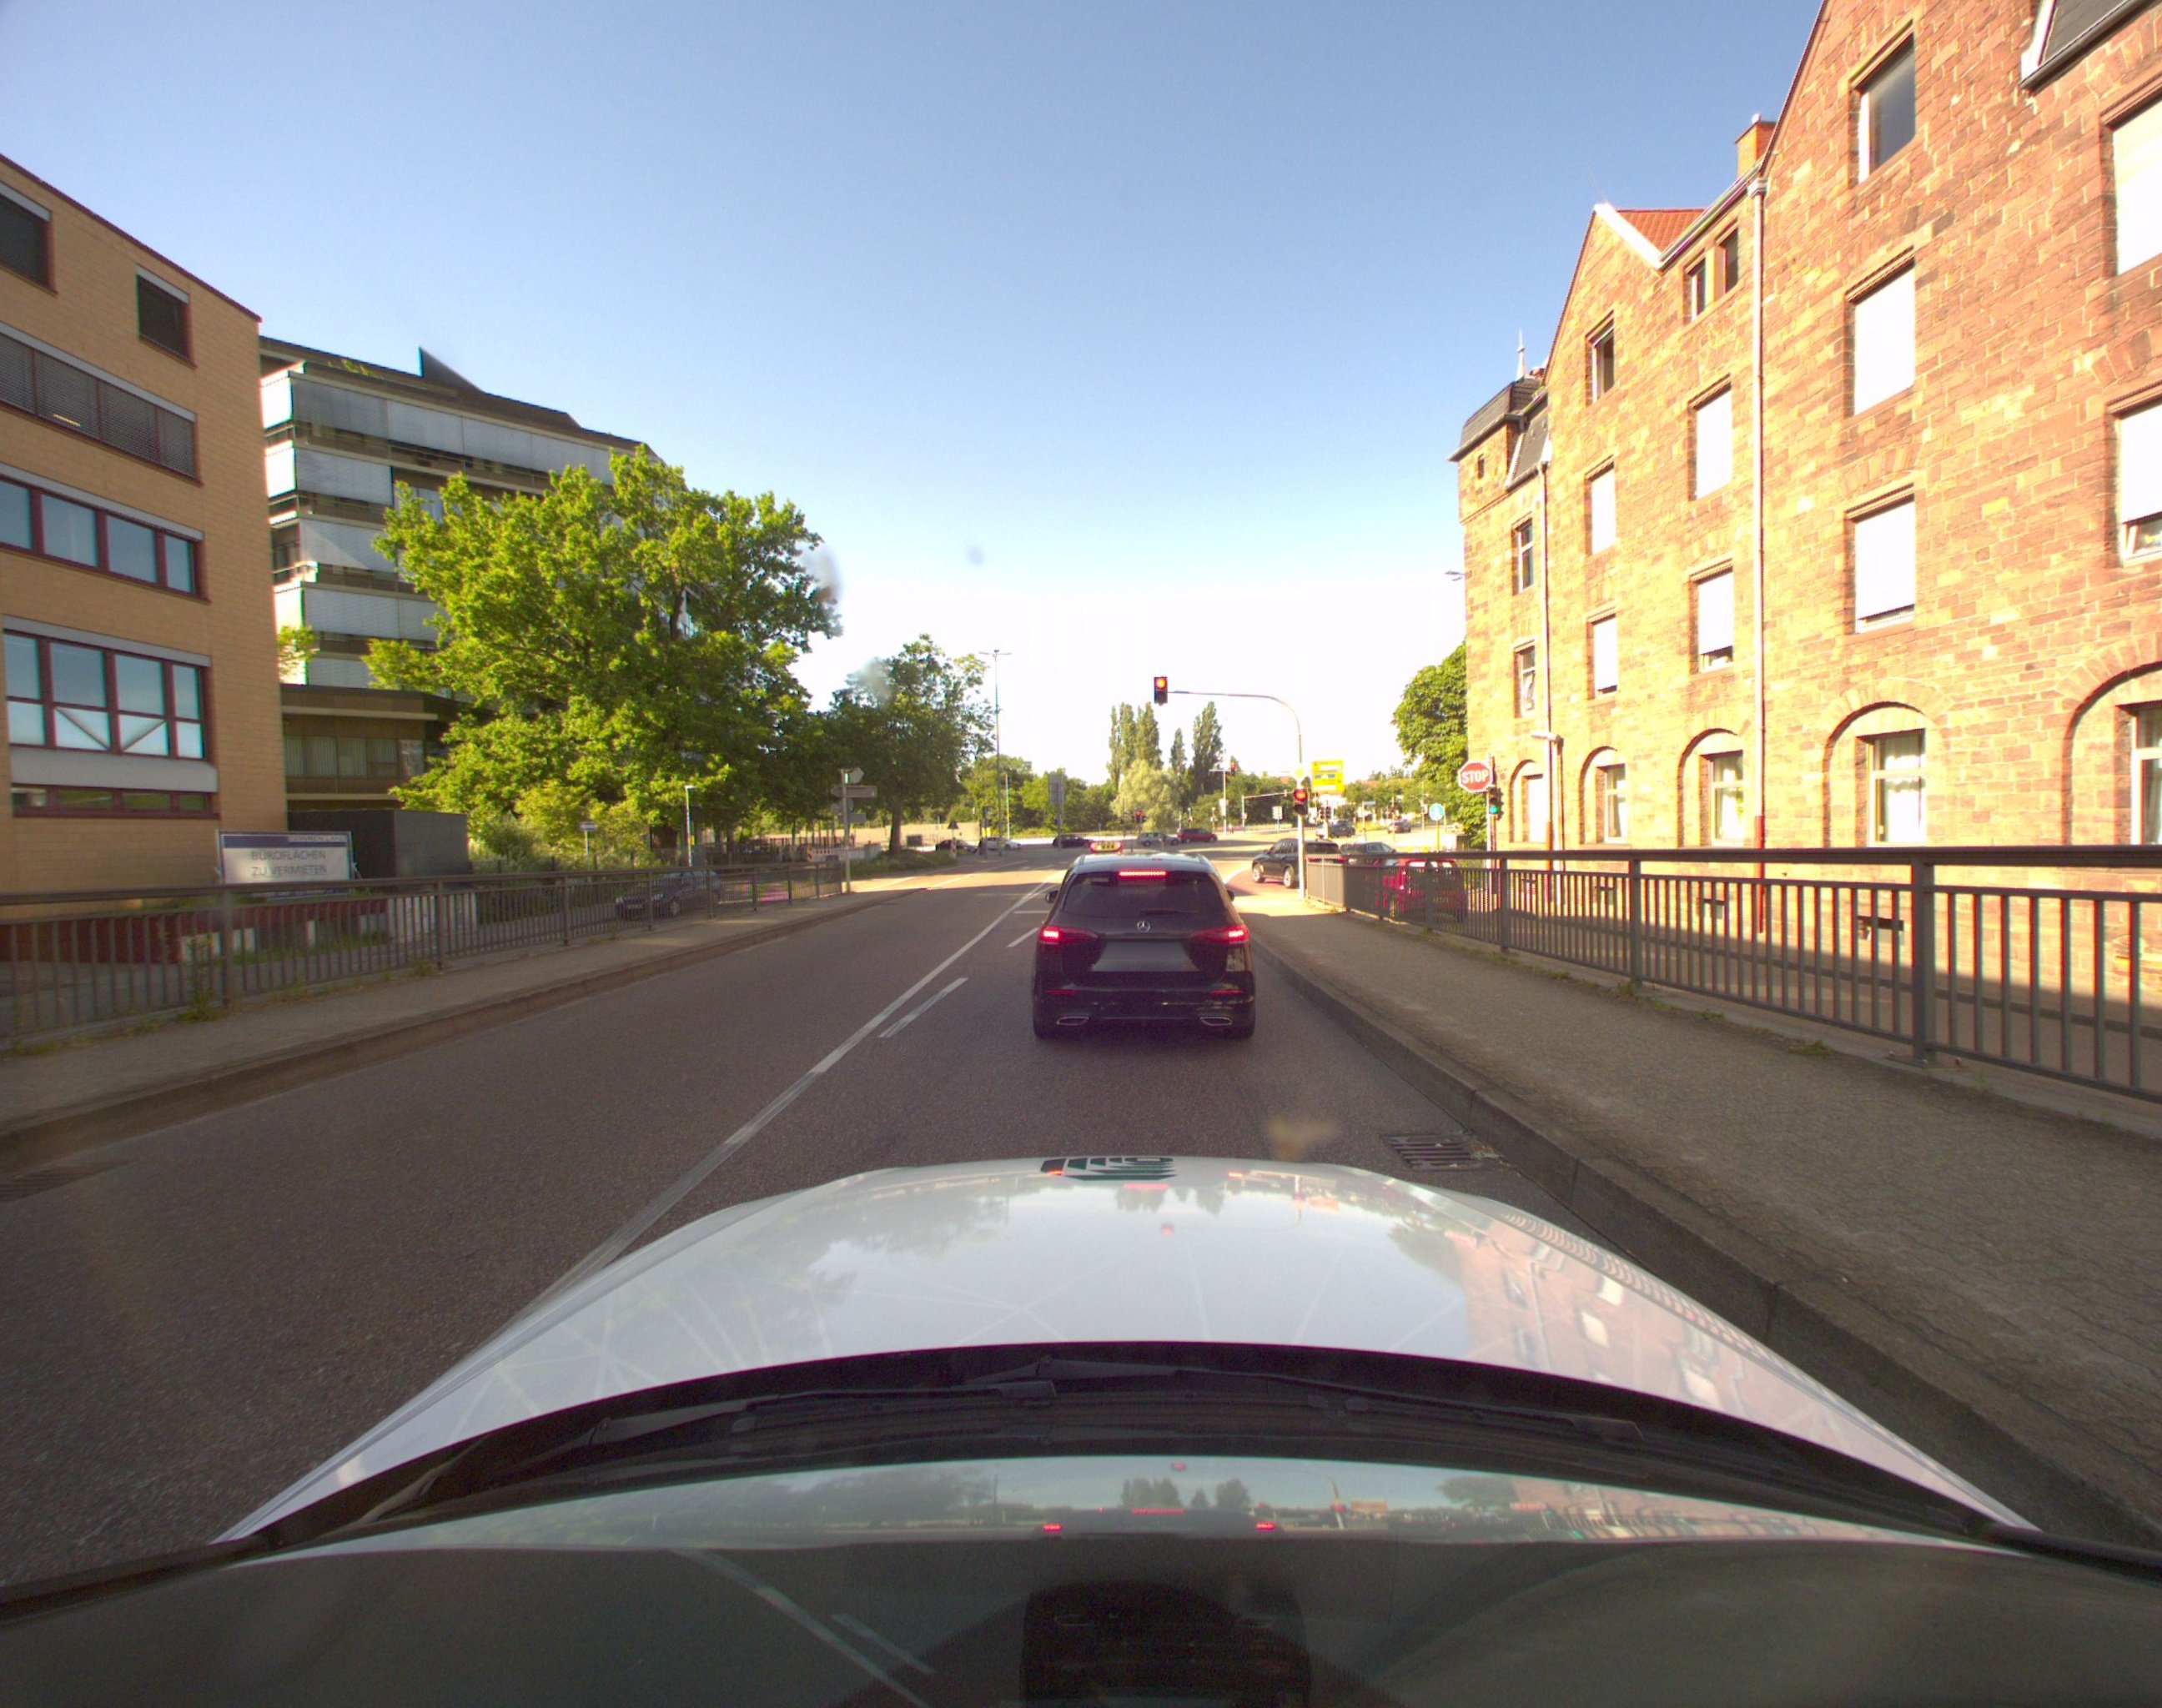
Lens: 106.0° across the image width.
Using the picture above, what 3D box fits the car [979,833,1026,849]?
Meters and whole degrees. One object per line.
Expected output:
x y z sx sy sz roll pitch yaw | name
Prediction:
-7.968 -1.324 82.824 4.263 1.365 2.011 -2 2 21 | car

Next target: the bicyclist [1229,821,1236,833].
21.061 -3.738 113.313 0.520 1.551 0.812 -2 1 35 | bicyclist

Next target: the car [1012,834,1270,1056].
0.504 0.647 7.942 1.871 1.613 4.002 0 0 2 | car

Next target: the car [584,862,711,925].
-13.950 1.201 26.494 1.844 1.692 4.002 -2 2 2 | car

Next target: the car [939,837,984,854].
-11.066 -0.787 75.118 4.146 1.407 1.758 -1 2 39 | car

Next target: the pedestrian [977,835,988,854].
-8.299 -0.789 68.384 0.700 1.525 0.746 -1 1 12 | pedestrian

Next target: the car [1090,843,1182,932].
1.138 0.604 16.821 1.632 1.529 3.478 -2 1 4 | car

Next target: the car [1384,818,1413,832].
38.375 -3.508 98.483 1.974 1.441 4.323 -1 3 40 | car

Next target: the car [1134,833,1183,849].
7.667 -1.298 80.394 4.568 1.294 1.999 -3 2 -3 | car

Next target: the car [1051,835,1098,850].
-0.636 -1.213 85.588 4.548 1.294 1.893 -2 2 12 | car

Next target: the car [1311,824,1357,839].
27.506 -2.457 88.589 4.838 1.441 1.981 -4 3 -30 | car

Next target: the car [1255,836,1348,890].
7.870 0.262 29.455 1.720 1.812 4.287 1 1 -7 | car

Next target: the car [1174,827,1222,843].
12.385 -2.021 86.173 4.541 1.455 1.992 -3 2 -12 | car

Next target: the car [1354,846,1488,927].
7.670 0.661 18.716 1.715 1.521 3.488 -2 3 2 | car

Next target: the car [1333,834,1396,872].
13.687 -0.113 39.210 1.705 1.603 4.326 1 3 36 | car

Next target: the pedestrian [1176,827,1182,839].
12.585 -2.671 104.320 0.446 1.585 0.504 -2 1 42 | pedestrian

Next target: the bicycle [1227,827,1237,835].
21.075 -3.242 113.333 0.520 1.050 2.003 -2 1 35 | bicycle
